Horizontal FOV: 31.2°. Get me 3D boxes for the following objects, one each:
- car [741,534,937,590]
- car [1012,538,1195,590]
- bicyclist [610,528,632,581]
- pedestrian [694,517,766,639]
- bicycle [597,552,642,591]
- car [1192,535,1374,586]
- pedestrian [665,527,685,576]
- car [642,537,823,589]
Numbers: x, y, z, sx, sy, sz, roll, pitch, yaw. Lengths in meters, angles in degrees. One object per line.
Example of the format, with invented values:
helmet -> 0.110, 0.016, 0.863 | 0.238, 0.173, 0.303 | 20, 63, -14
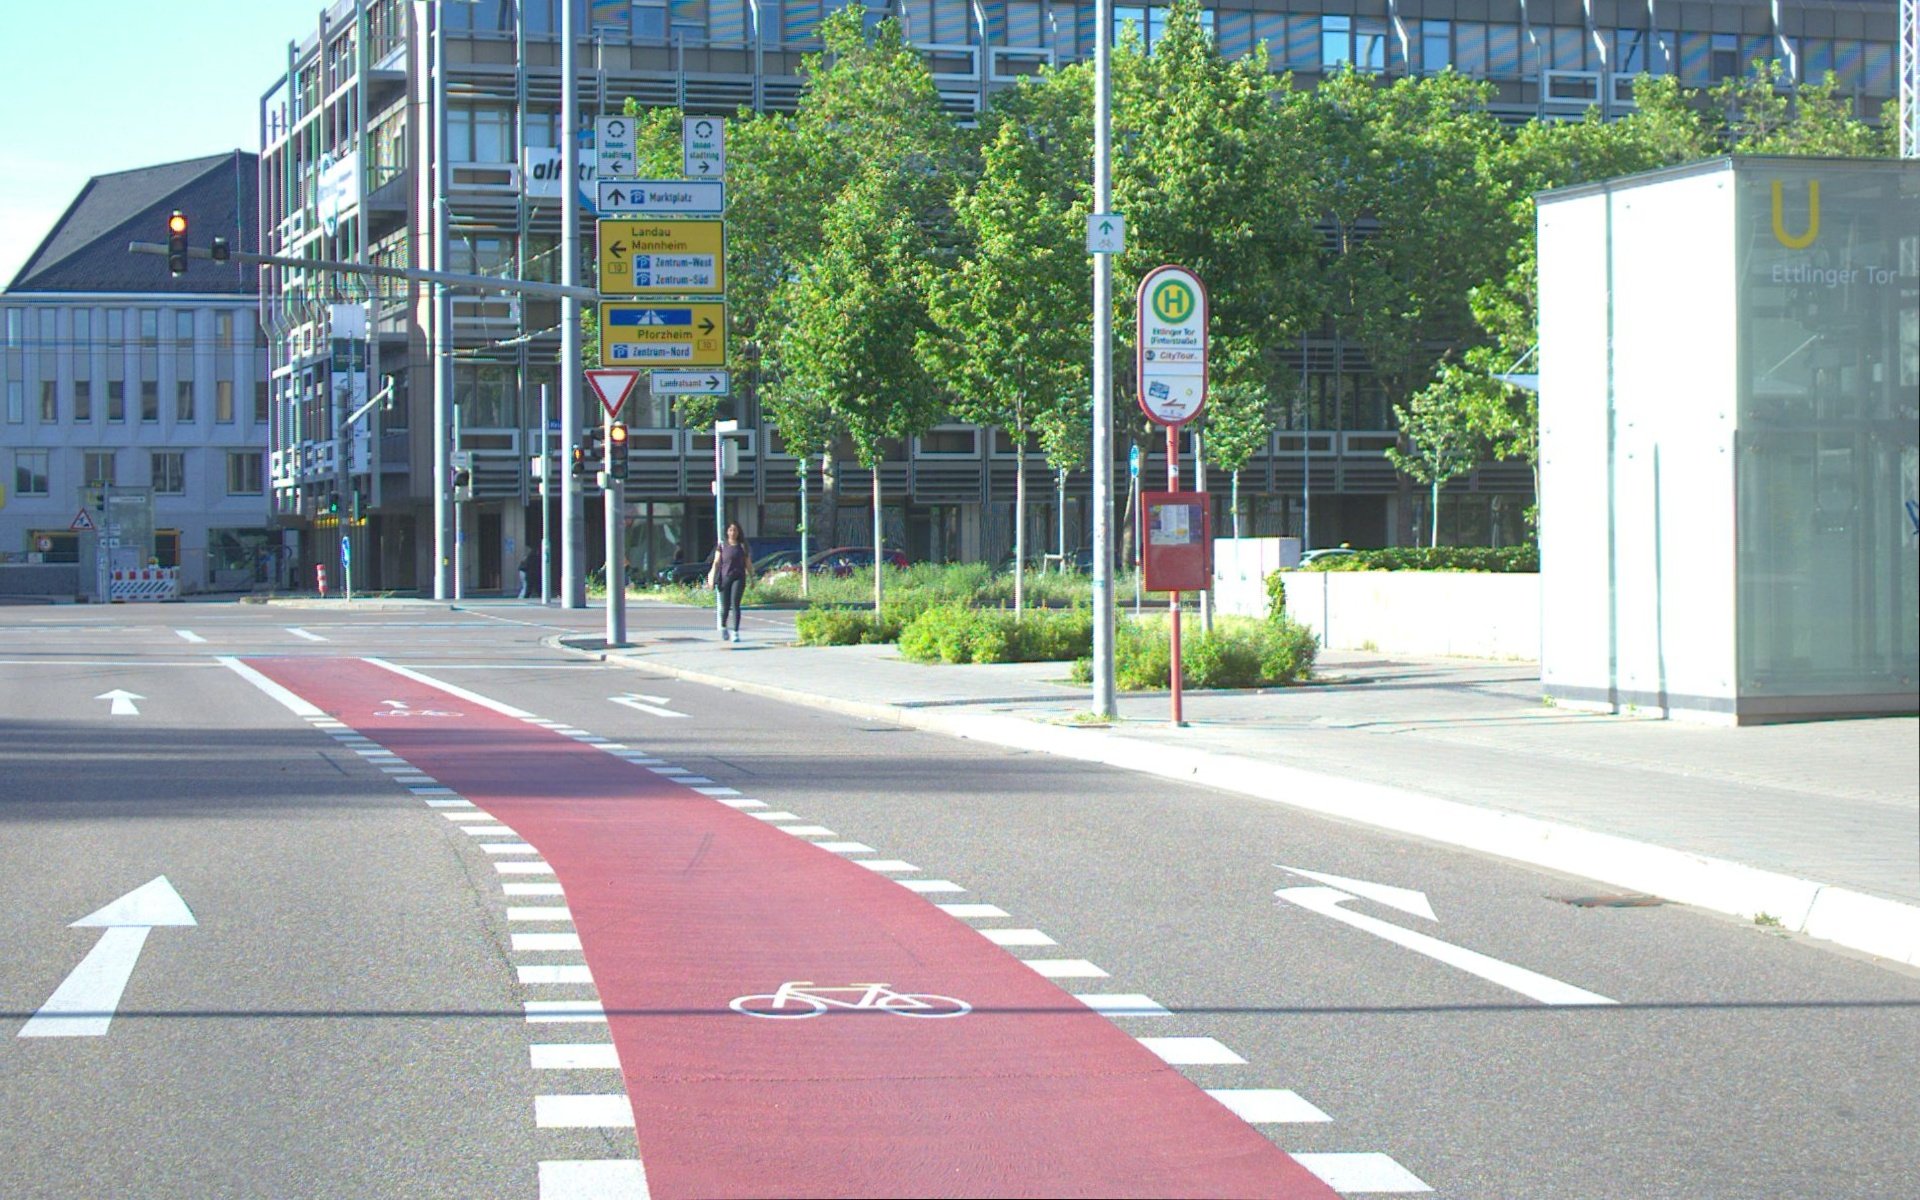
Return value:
car -> -3.101, -0.977, 87.647 | 4.629, 1.351, 2.001 | 0, 2, -18
car -> 3.961, -1.012, 94.853 | 4.629, 1.351, 2.001 | 0, 2, -18
bicyclist -> -8.604, -1.163, 87.301 | 0.508, 1.333, 0.453 | 0, 1, -11
pedestrian -> -3.354, -0.330, 50.250 | 0.822, 1.742, 1.041 | -1, 1, 8
bicycle -> -8.653, -0.727, 87.293 | 1.076, 0.967, 0.458 | -1, 1, -12
car -> 9.042, -1.128, 96.279 | 4.629, 1.351, 2.001 | 0, 2, -18
pedestrian -> -8.797, -1.500, 106.107 | 0.622, 1.513, 0.653 | 0, 1, -5
car -> -6.280, -1.043, 94.737 | 4.629, 1.351, 2.001 | 0, 2, -18
